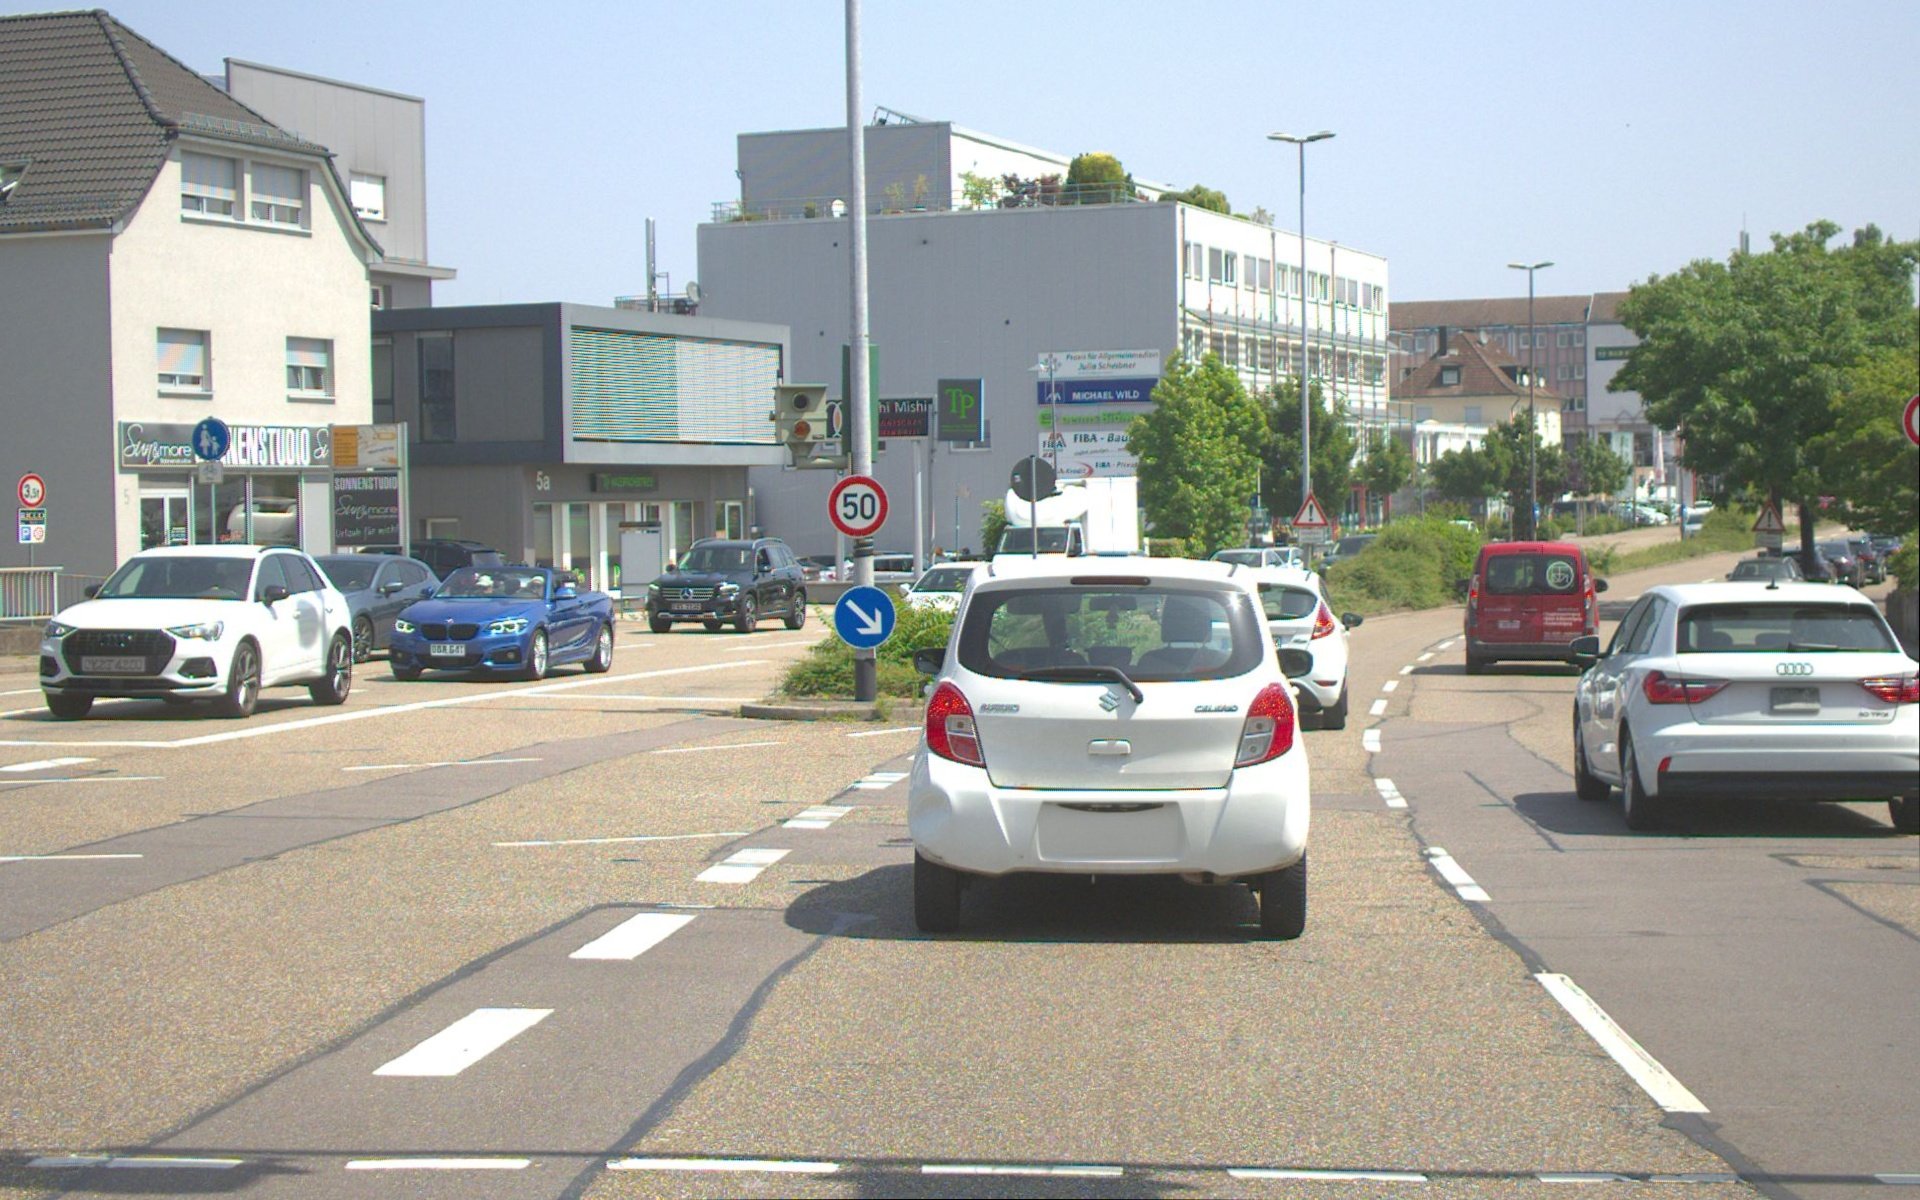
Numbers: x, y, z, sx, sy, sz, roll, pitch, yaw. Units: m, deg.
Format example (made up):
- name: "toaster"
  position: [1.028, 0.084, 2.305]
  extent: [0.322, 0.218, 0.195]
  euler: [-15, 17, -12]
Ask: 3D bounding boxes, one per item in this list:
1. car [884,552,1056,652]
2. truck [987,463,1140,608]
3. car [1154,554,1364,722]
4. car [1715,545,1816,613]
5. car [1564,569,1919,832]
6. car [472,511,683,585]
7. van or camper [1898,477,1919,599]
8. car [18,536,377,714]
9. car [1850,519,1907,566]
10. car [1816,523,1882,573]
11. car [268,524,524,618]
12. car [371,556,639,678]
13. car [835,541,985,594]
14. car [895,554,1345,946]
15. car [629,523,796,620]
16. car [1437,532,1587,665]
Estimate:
- name: "car"
  position: [0.211, -0.005, 52.225]
  extent: [1.863, 1.426, 4.743]
  euler: [1, 1, 10]
- name: "truck"
  position: [2.620, -1.541, 84.912]
  extent: [2.266, 3.406, 7.034]
  euler: [1, 0, 14]
- name: "car"
  position: [2.775, 0.305, 32.284]
  extent: [1.830, 1.445, 4.000]
  euler: [1, 1, 4]
- name: "car"
  position: [17.635, -0.480, 75.159]
  extent: [1.799, 1.401, 4.317]
  euler: [1, 1, 17]
- name: "car"
  position: [4.633, 0.523, 20.488]
  extent: [1.667, 1.394, 3.793]
  euler: [0, 1, 4]
- name: "car"
  position: [-8.273, -1.115, 74.420]
  extent: [4.059, 1.516, 1.999]
  euler: [-1, 1, 16]
- name: "van or camper"
  position: [25.966, -1.565, 81.913]
  extent: [6.803, 2.888, 2.273]
  euler: [-1, 2, 19]
- name: "car"
  position: [-7.194, 0.182, 32.919]
  extent: [1.817, 1.565, 4.554]
  euler: [1, 1, 9]
- name: "car"
  position: [32.018, -2.016, 119.786]
  extent: [1.715, 1.543, 4.787]
  euler: [-1, 1, 17]
- name: "car"
  position: [28.219, -1.654, 109.051]
  extent: [1.856, 1.476, 5.153]
  euler: [0, 2, 16]
- name: "car"
  position: [-11.126, -0.594, 67.853]
  extent: [4.610, 1.621, 1.852]
  euler: [3, 2, 19]
- name: "car"
  position: [-5.403, 0.170, 41.389]
  extent: [1.864, 1.361, 4.345]
  euler: [1, 1, 12]
- name: "car"
  position: [-1.420, -0.918, 97.785]
  extent: [3.989, 1.454, 1.574]
  euler: [-1, 0, 15]
- name: "car"
  position: [0.592, 0.574, 15.005]
  extent: [1.712, 1.505, 3.247]
  euler: [1, 0, -1]
- name: "car"
  position: [-4.416, -0.541, 62.072]
  extent: [1.994, 1.650, 4.592]
  euler: [-1, 1, 9]
- name: "car"
  position: [7.492, -0.058, 46.959]
  extent: [1.795, 1.723, 3.972]
  euler: [1, 1, 6]
